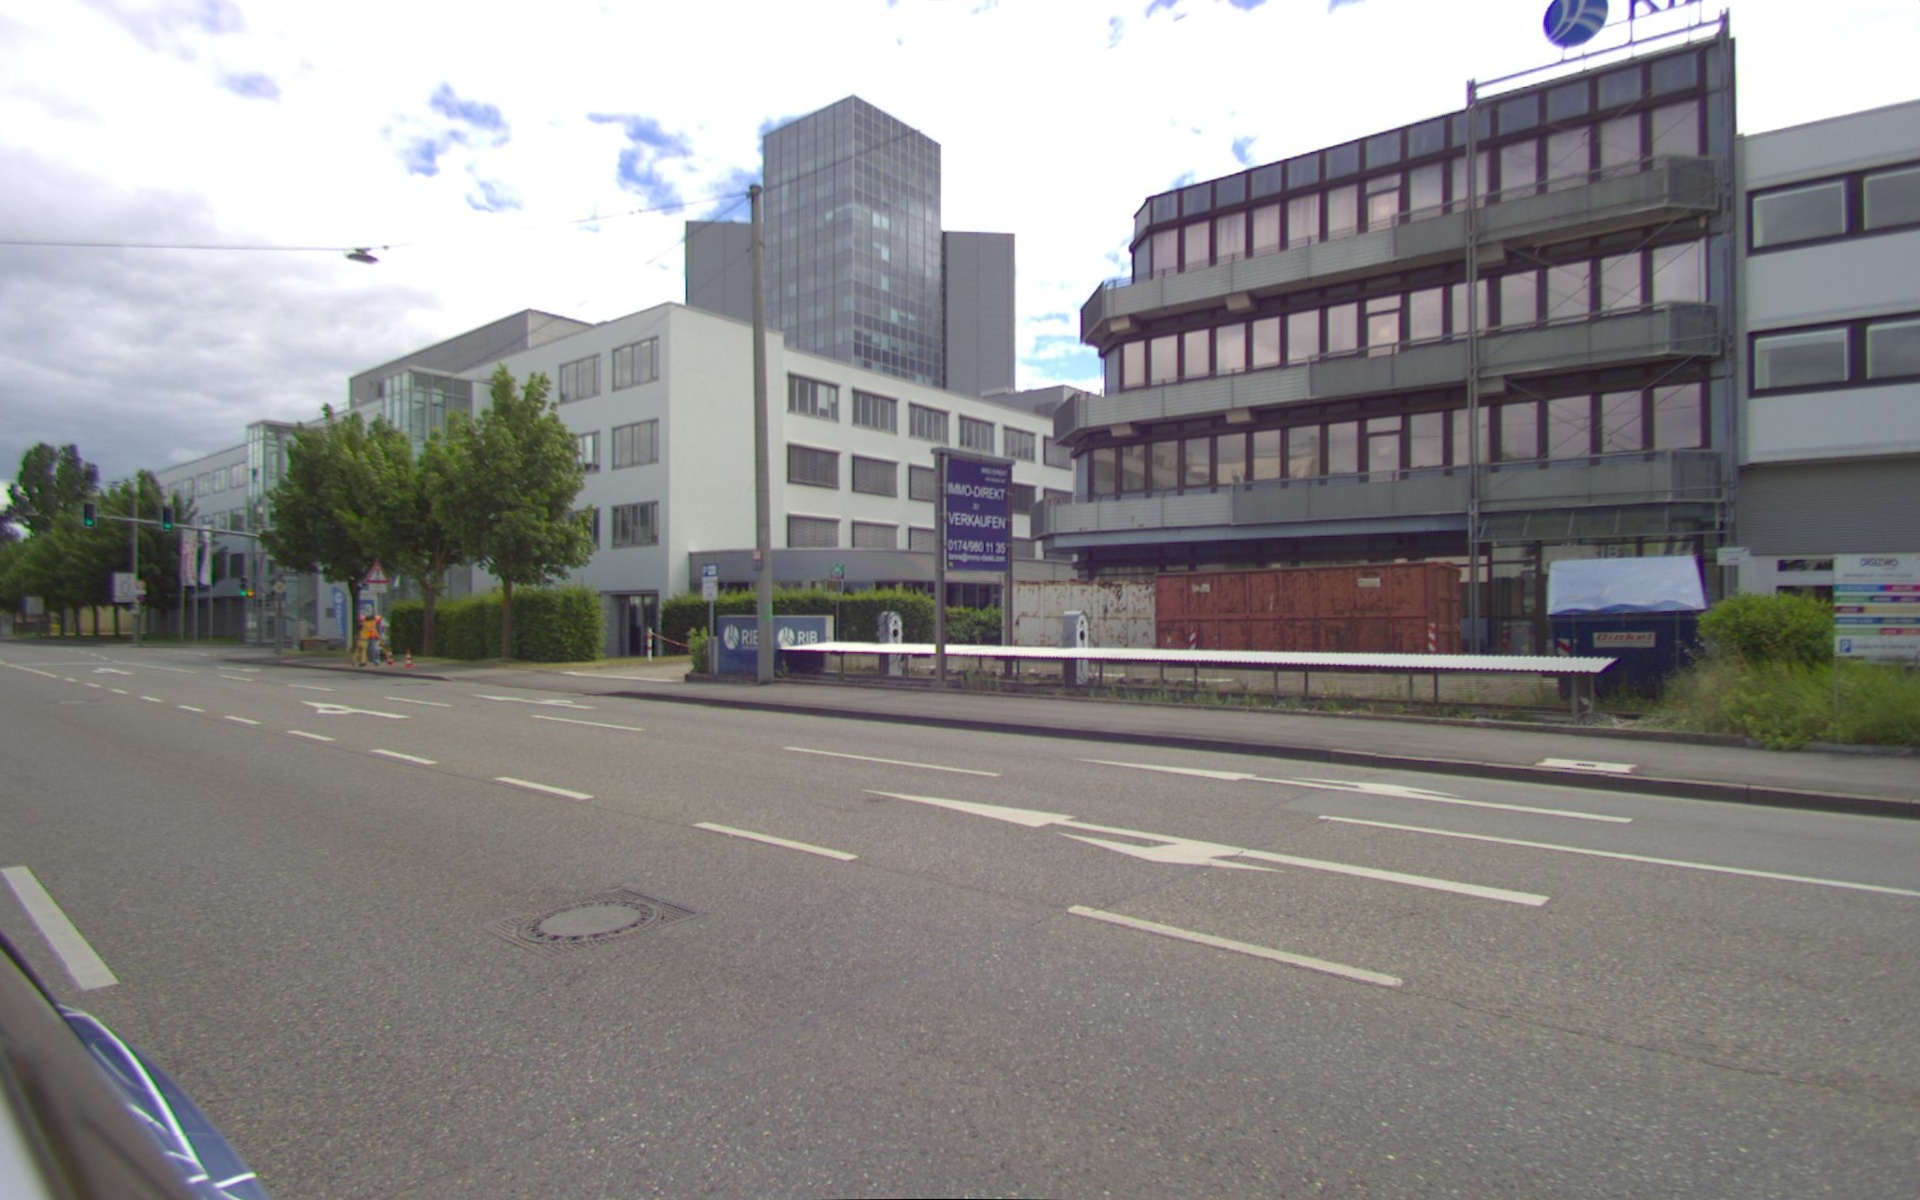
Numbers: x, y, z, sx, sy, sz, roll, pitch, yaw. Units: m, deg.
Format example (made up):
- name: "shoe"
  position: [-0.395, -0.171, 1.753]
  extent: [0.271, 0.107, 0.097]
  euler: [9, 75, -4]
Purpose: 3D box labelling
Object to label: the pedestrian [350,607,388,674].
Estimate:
- name: "pedestrian"
  position: [-18.449, 1.249, 31.621]
  extent: [0.715, 2.029, 0.812]
  euler: [-1, 1, -7]
